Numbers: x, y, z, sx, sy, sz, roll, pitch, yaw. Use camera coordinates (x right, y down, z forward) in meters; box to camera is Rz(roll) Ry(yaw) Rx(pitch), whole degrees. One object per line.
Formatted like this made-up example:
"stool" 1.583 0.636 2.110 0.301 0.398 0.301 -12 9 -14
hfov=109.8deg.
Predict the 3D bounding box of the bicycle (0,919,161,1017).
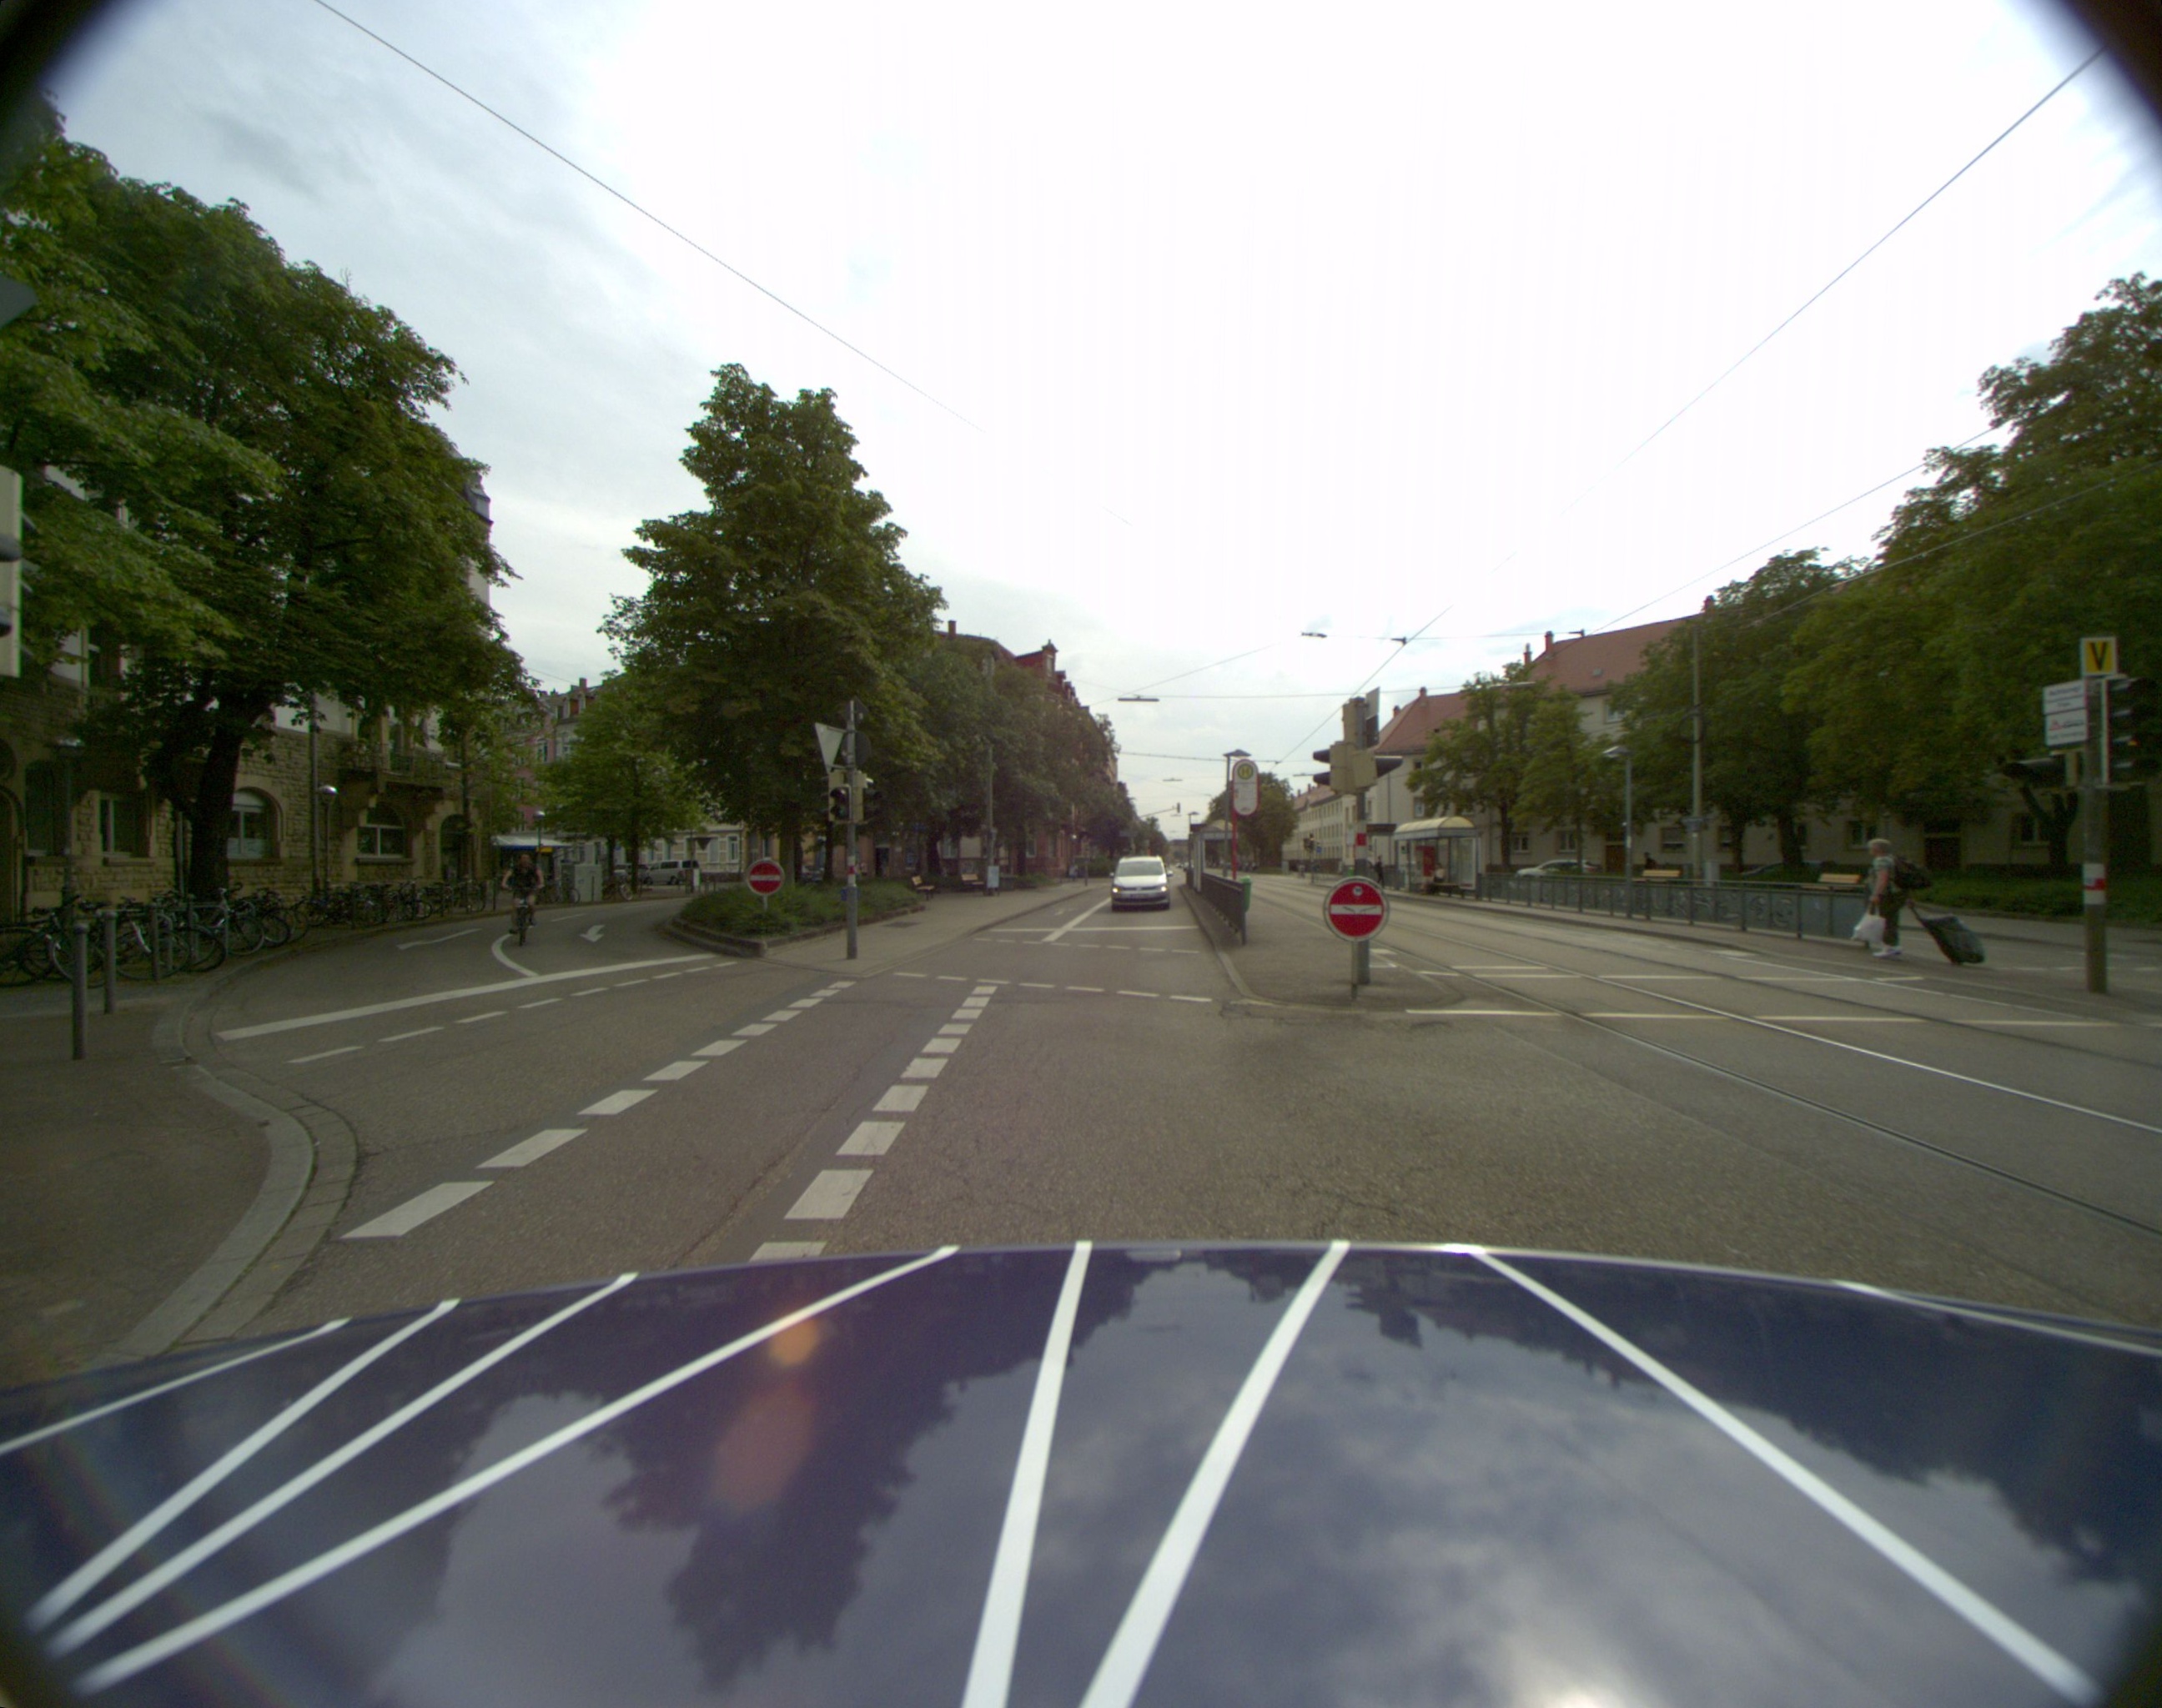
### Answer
"bicycle" -12.266 1.329 8.782 0.481 1.032 2.053 -2 -2 36

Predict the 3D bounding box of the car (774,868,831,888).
"car" -19.246 1.636 52.458 3.580 1.258 1.742 -2 0 30

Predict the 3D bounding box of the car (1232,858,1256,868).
"car" 29.560 1.701 137.753 3.994 1.716 1.878 -2 0 9

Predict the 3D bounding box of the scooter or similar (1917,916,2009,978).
"scooter or similar" 12.007 1.254 10.365 0.668 0.708 0.605 4 2 37

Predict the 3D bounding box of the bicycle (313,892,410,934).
"bicycle" -18.870 1.535 19.969 1.795 1.032 0.482 0 -1 -22

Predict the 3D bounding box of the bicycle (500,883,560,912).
"bicycle" -20.300 1.603 28.007 1.793 1.032 0.482 -1 -1 -6

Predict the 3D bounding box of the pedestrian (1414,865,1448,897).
"pedestrian" 13.860 1.071 30.094 1.032 1.229 0.724 -2 0 5

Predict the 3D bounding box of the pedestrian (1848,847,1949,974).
"pedestrian" 11.421 0.758 10.646 0.812 1.680 0.686 2 0 38

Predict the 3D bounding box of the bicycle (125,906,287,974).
"bicycle" -15.157 1.465 13.230 1.797 1.032 0.481 1 -2 -41

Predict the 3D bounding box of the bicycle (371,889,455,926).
"bicycle" -19.683 1.568 22.423 1.795 1.032 0.482 0 -1 -22

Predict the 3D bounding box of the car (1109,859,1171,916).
"car" 2.017 1.026 25.004 1.766 1.660 4.332 -2 -1 7

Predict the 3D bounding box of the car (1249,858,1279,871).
"car" 25.914 1.505 107.815 3.994 1.716 1.878 -2 0 9

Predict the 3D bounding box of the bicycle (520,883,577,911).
"bicycle" -20.683 1.657 29.525 1.793 1.032 0.482 -1 -1 -6

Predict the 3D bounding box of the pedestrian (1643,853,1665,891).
"pedestrian" 31.218 0.985 41.365 0.862 2.002 0.766 -2 0 41

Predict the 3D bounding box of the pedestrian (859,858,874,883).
"pedestrian" -14.784 1.120 52.340 0.789 1.684 0.779 0 0 3

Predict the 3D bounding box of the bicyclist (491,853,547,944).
"bicyclist" -10.924 0.839 14.763 0.841 1.679 1.243 0 -1 -38

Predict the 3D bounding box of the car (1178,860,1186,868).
"car" 29.104 2.870 218.780 1.997 2.001 4.003 -2 0 8

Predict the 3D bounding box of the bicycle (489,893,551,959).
"bicycle" -10.952 1.342 14.788 0.888 1.039 3.089 0 -1 -38

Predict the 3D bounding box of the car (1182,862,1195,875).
"car" 16.983 2.231 120.438 1.997 2.001 4.003 -2 0 8

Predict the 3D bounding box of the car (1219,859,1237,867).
"car" 33.637 1.946 173.929 3.994 1.716 1.878 -2 0 9

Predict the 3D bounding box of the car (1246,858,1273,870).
"car" 27.470 1.553 117.038 3.994 1.716 1.878 -2 0 9

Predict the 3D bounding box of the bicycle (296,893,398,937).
"bicycle" -18.593 1.528 19.281 1.795 1.032 0.482 0 -1 -22

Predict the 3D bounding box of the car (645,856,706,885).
"car" -31.834 1.289 59.652 4.534 2.104 1.742 -2 0 25

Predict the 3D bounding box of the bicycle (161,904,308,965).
"bicycle" -15.955 1.494 14.385 1.797 1.032 0.481 1 -2 -41

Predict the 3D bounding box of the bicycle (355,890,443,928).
"bicycle" -19.458 1.561 21.715 1.795 1.032 0.482 0 -1 -22

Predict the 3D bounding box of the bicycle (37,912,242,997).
"bicycle" -13.335 1.389 10.854 0.481 1.032 1.797 -2 -2 43

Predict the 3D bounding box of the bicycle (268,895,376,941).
"bicycle" -18.272 1.522 18.335 1.795 1.032 0.482 0 -1 -22

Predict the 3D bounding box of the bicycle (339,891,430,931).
"bicycle" -19.193 1.552 20.968 1.795 1.032 0.482 0 -1 -22

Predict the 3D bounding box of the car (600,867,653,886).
"car" -37.094 1.846 61.957 3.949 1.464 1.742 -2 0 25

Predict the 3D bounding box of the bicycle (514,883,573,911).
"bicycle" -20.359 1.628 28.792 1.793 1.032 0.482 -1 -1 -6

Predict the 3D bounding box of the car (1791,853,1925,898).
"car" 34.738 0.951 34.103 1.854 1.853 3.754 -2 0 -12

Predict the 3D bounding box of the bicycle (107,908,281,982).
"bicycle" -14.232 1.428 12.274 0.481 1.032 1.797 -2 -2 43

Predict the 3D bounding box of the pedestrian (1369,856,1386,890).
"pedestrian" 14.803 0.956 37.959 0.588 1.693 0.619 -2 0 2

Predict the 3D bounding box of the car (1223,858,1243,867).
"car" 31.384 1.840 156.940 3.994 1.716 1.878 -2 0 9

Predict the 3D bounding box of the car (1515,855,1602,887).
"car" 29.068 1.071 46.303 4.188 1.853 1.857 -2 0 41

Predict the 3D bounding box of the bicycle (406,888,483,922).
"bicycle" -19.954 1.590 23.865 1.795 1.032 0.482 0 -1 -22

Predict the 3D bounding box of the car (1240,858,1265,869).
"car" 28.694 1.621 127.290 3.994 1.716 1.878 -2 0 9

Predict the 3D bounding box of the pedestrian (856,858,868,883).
"pedestrian" -14.815 1.134 51.379 0.612 1.684 0.641 0 0 1

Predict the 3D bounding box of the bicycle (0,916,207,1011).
"bicycle" -12.623 1.353 9.593 0.481 1.032 2.053 -2 -2 36

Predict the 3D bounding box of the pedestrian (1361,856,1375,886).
"pedestrian" 17.851 1.050 47.225 0.658 1.824 0.464 -2 0 -7

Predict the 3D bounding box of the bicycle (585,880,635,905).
"bicycle" -20.152 1.625 32.528 1.793 1.032 0.482 -1 -1 -6
